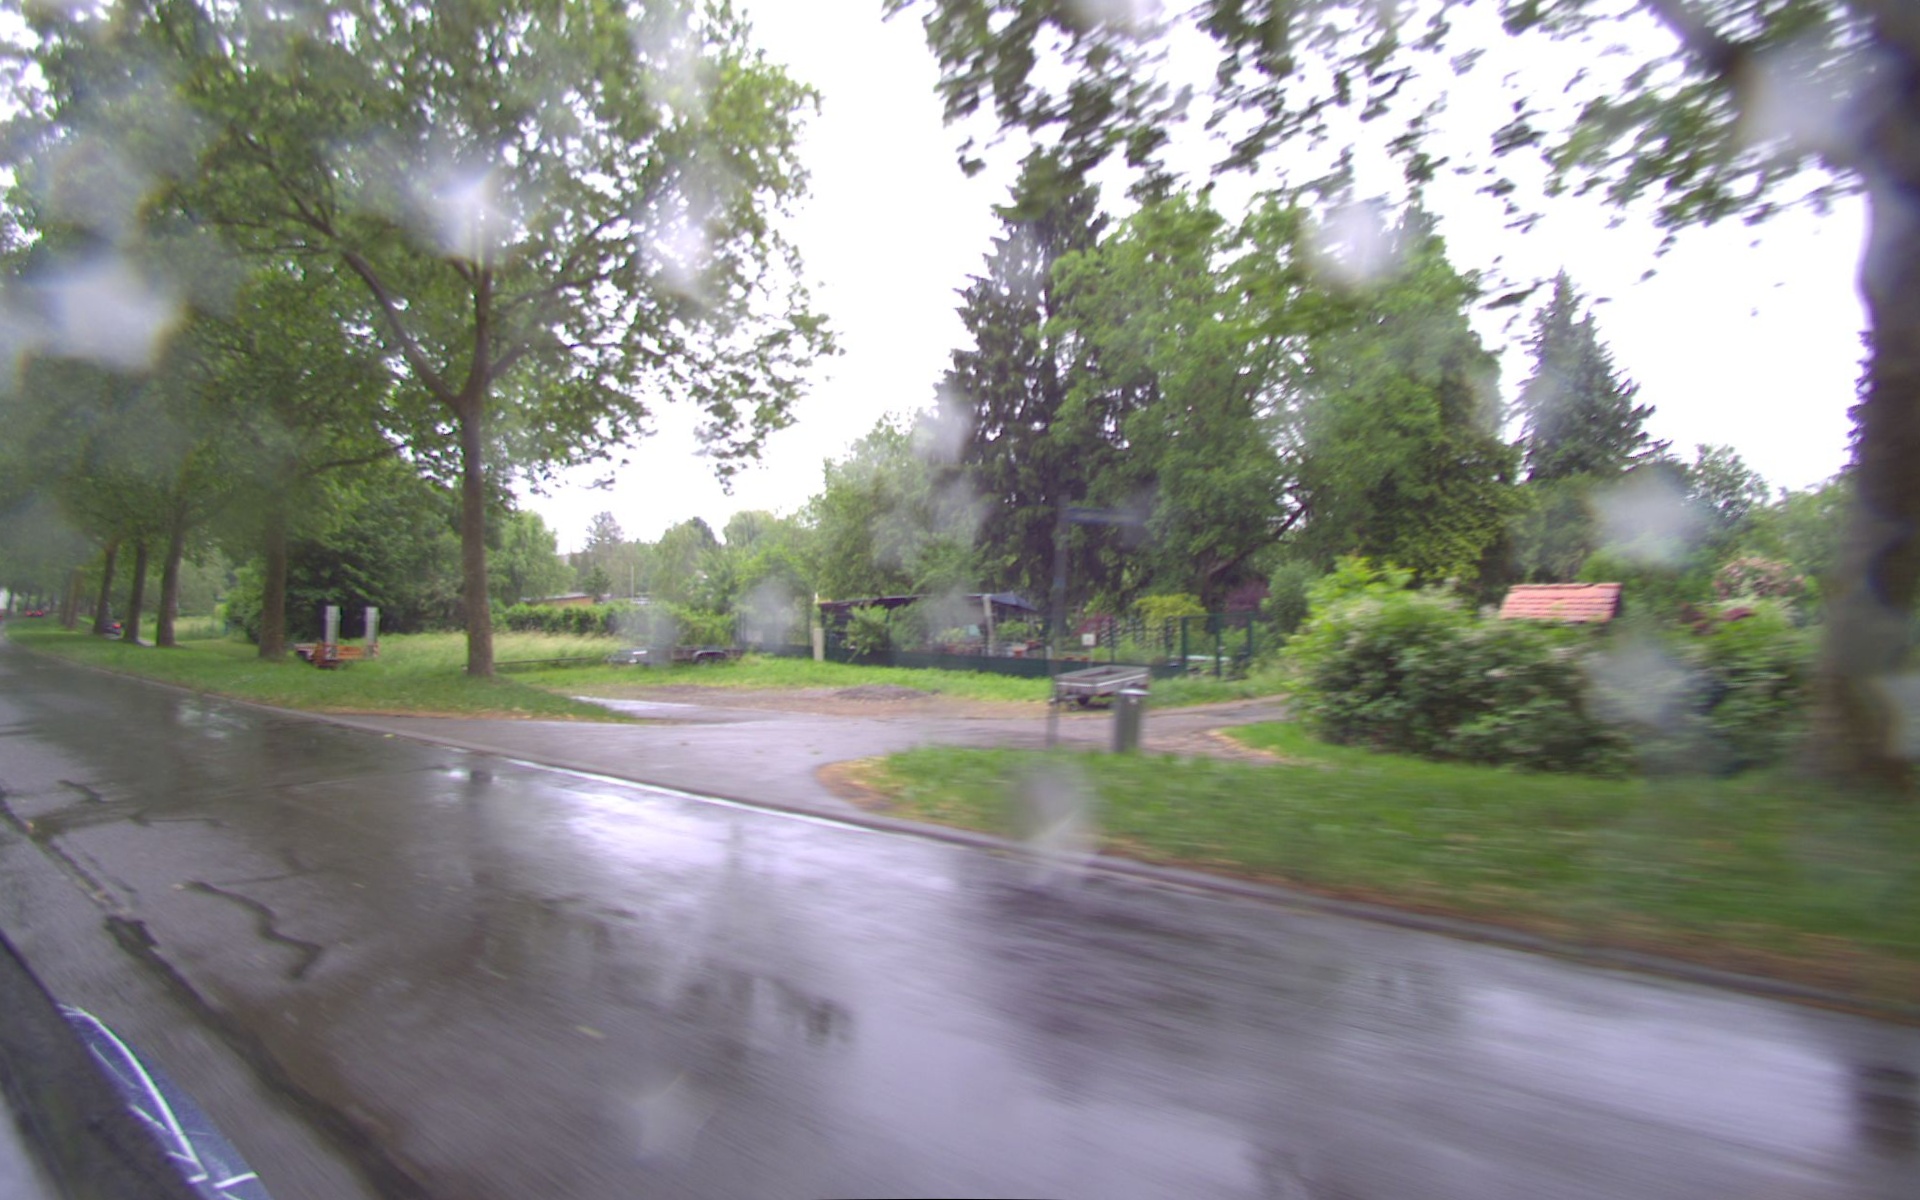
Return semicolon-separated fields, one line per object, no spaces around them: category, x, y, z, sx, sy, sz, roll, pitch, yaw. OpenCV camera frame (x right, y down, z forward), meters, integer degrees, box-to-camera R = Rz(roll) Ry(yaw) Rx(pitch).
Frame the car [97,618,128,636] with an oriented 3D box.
car;-84.769;2.653;101.297;1.868;1.695;4.011;0;0;-33

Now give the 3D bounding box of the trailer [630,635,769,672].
trailer;-9.391;1.906;36.697;2.381;1.040;4.271;0;0;41

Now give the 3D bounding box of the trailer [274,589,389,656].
trailer;-27.277;0.893;43.801;6.655;2.684;2.766;0;0;44

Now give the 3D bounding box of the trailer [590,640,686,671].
trailer;-12.213;2.076;38.449;1.769;0.952;3.042;0;0;43

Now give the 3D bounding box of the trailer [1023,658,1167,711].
trailer;2.992;1.811;22.242;2.994;0.844;1.679;-1;1;-45
